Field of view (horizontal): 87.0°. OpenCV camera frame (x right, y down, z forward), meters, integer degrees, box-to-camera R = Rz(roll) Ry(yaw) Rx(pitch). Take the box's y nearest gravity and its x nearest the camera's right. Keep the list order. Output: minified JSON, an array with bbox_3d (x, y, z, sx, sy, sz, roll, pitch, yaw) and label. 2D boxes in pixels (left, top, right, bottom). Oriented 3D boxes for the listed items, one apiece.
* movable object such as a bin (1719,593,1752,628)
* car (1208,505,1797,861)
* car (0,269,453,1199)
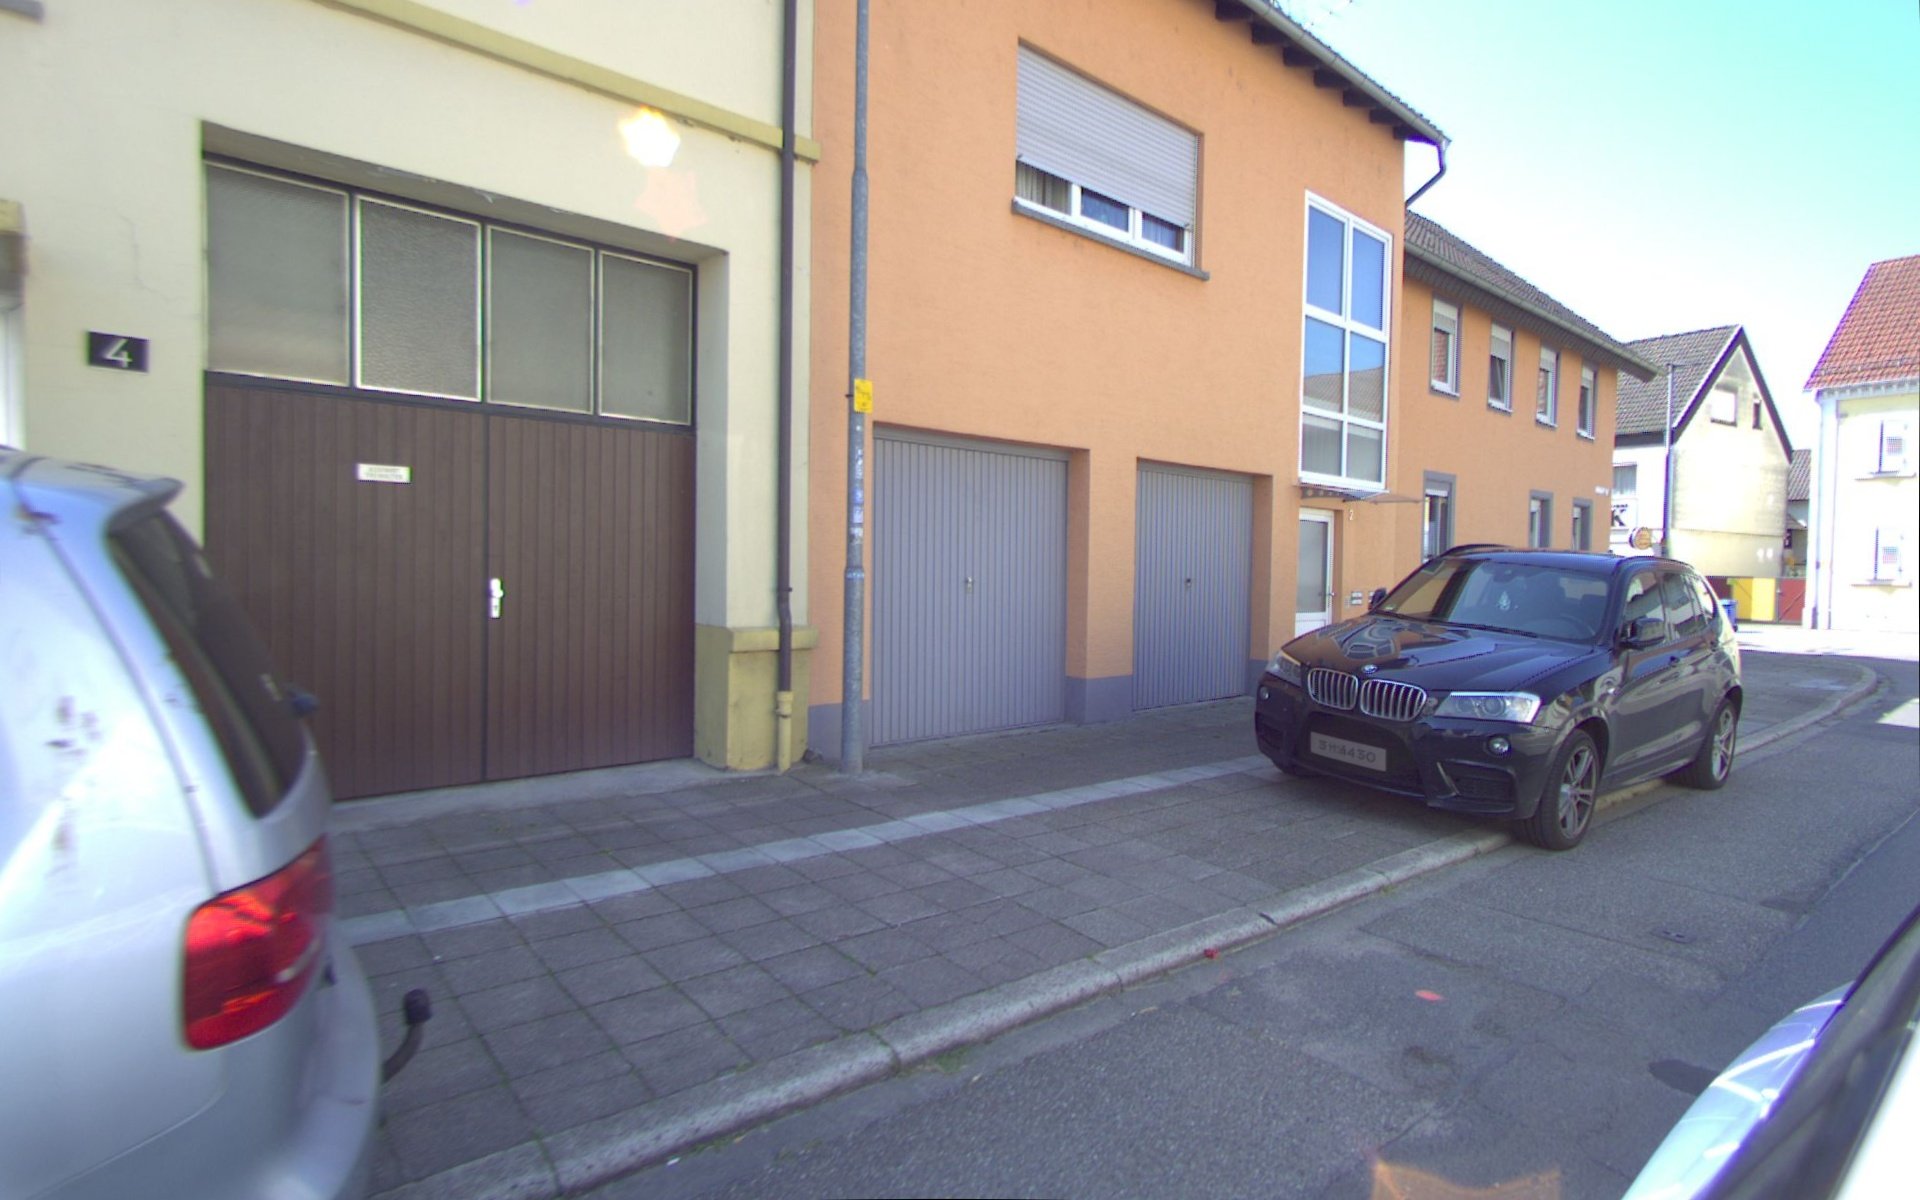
[{"bbox_3d":[23.088,0.301,30.134,0.633,0.993,0.613,-1,2,-38],"label":"movable object such as a bin"},{"bbox_3d":[4.119,0.338,7.220,5.087,1.723,1.849,0,3,-39],"label":"car"},{"bbox_3d":[-2.928,0.490,0.855,4.173,1.749,1.903,-1,2,-40],"label":"car"}]
